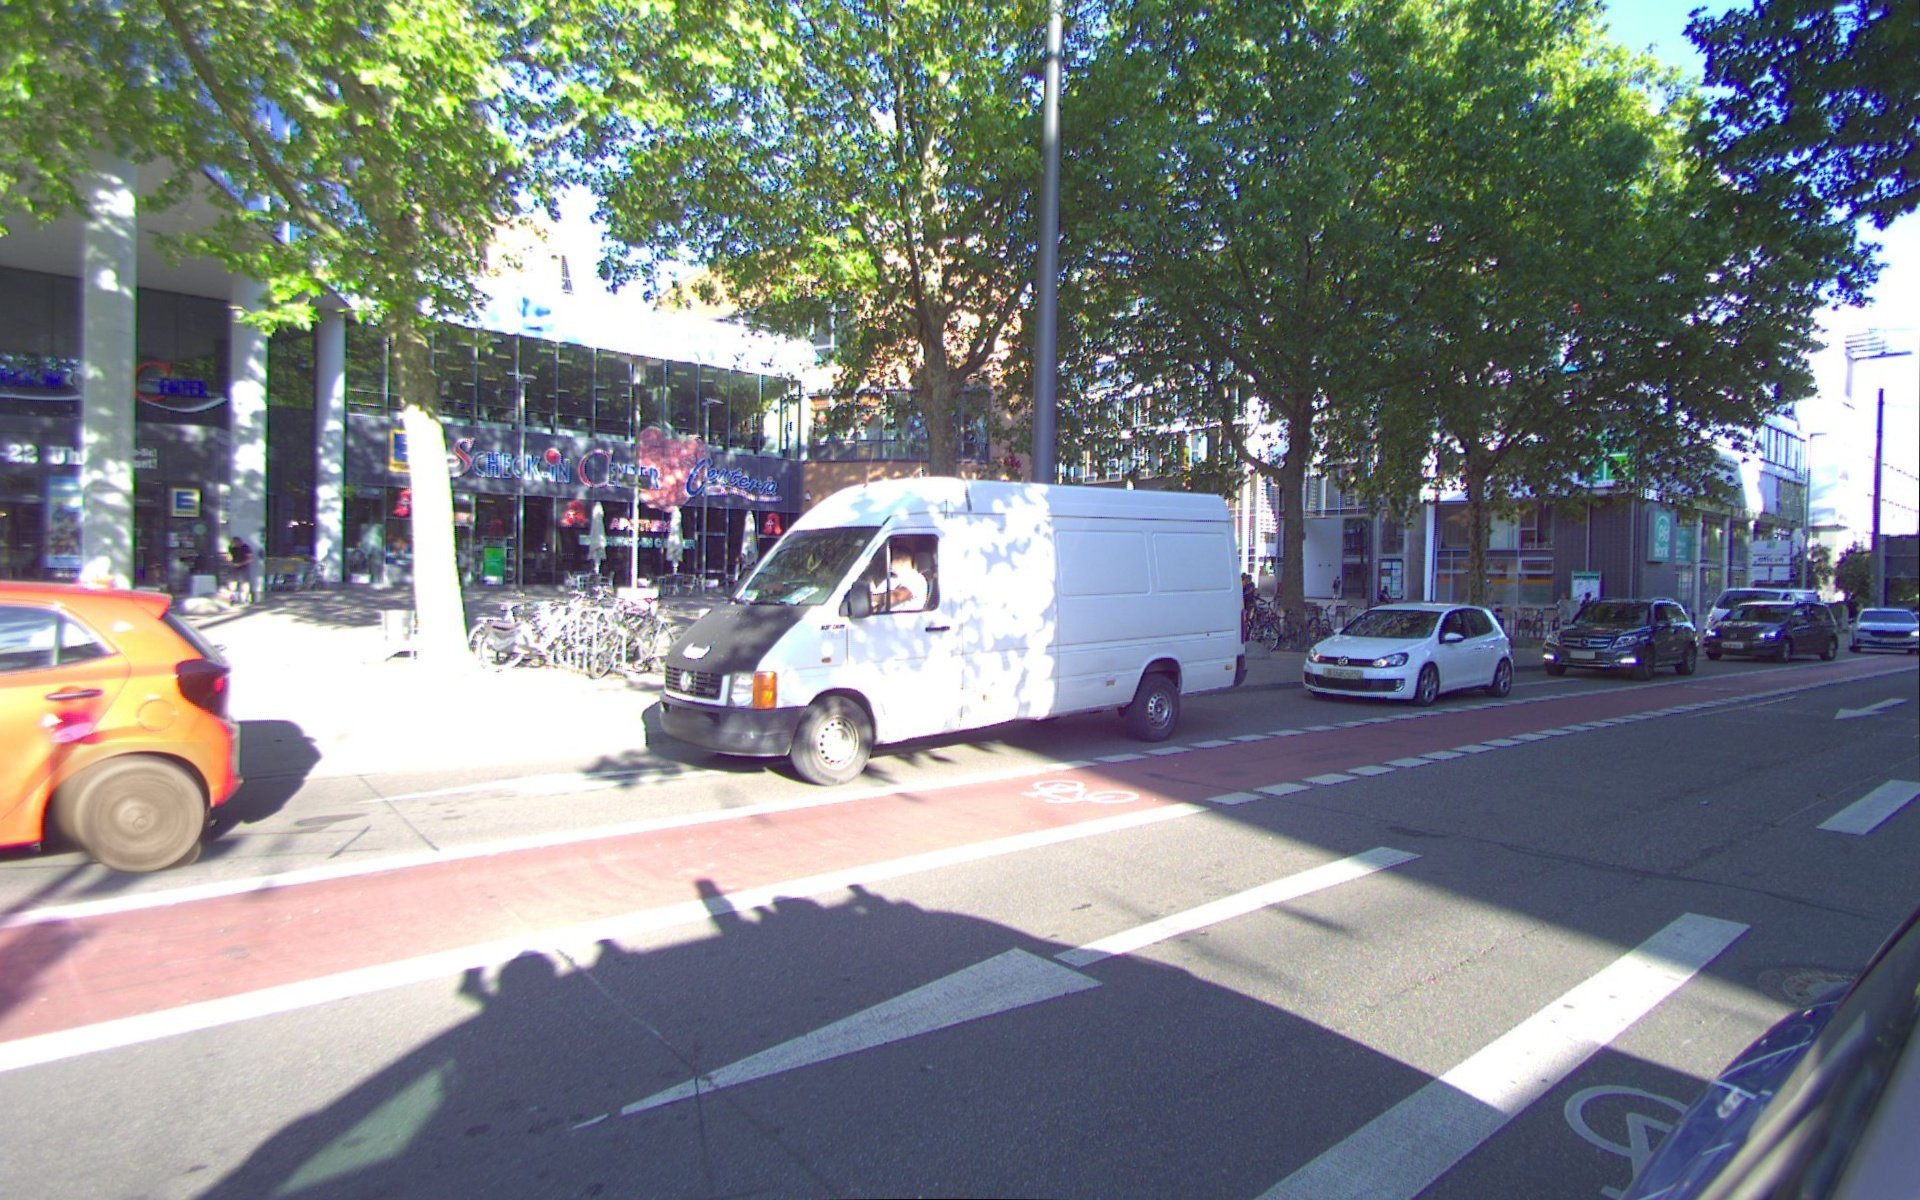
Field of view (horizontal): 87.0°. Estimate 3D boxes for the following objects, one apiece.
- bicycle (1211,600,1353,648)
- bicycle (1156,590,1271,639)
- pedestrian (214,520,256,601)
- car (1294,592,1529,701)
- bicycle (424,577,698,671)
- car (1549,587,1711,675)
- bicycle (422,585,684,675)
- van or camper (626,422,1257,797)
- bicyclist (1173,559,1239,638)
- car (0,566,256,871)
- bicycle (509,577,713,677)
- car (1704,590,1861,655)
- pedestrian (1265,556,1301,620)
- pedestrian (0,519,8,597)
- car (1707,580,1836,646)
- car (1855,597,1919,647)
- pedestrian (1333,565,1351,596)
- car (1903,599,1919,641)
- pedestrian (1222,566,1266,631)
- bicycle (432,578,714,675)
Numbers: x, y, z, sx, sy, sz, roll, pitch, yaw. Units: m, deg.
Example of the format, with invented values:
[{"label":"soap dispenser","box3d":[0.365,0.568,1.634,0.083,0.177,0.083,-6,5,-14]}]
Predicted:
[{"label":"bicycle","box3d":[7.426,0.536,23.326,3.136,1.038,0.979,0,0,-18]},{"label":"bicycle","box3d":[6.606,0.333,26.701,1.124,1.097,3.342,0,2,-23]},{"label":"pedestrian","box3d":[-18.808,-1.004,26.265,0.843,2.039,1.024,0,0,-34]},{"label":"car","box3d":[6.888,0.611,15.296,3.914,1.446,1.639,0,0,-38]},{"label":"bicycle","box3d":[-5.928,0.401,15.307,3.743,1.236,0.729,4,-2,-35]},{"label":"car","box3d":[14.032,0.578,21.103,4.175,1.656,1.768,0,0,-41]},{"label":"bicycle","box3d":[-6.321,0.414,15.982,3.746,1.236,0.793,-2,1,-37]},{"label":"van or camper","box3d":[0.219,0.037,9.979,6.383,2.647,2.004,0,1,-40]},{"label":"bicyclist","box3d":[6.523,-0.067,26.892,1.132,2.039,1.301,0,1,-24]},{"label":"car","box3d":[-5.690,0.565,4.984,3.533,1.478,1.493,0,0,-41]},{"label":"bicycle","box3d":[-4.715,0.326,13.799,2.504,1.236,0.758,-2,1,-35]},{"label":"car","box3d":[22.261,0.568,27.366,4.300,1.656,1.714,0,0,-27]},{"label":"pedestrian","box3d":[11.600,-0.445,36.351,0.884,2.261,0.845,0,0,-19]},{"label":"pedestrian","box3d":[-23.854,-1.022,24.481,0.857,1.912,0.813,1,2,2]},{"label":"car","box3d":[26.412,0.376,32.863,5.809,1.989,1.933,0,0,-38]},{"label":"car","box3d":[30.408,0.672,32.949,1.830,1.508,4.130,1,1,43]},{"label":"pedestrian","box3d":[25.246,-1.281,66.869,0.860,2.039,0.796,0,0,-41]},{"label":"car","box3d":[37.075,0.732,37.906,4.117,1.508,1.836,0,-1,-37]},{"label":"pedestrian","box3d":[10.186,-0.063,36.339,1.195,2.276,1.052,0,0,-3]},{"label":"bicycle","box3d":[-5.516,0.320,14.693,3.744,1.236,0.758,-2,1,-35]}]
